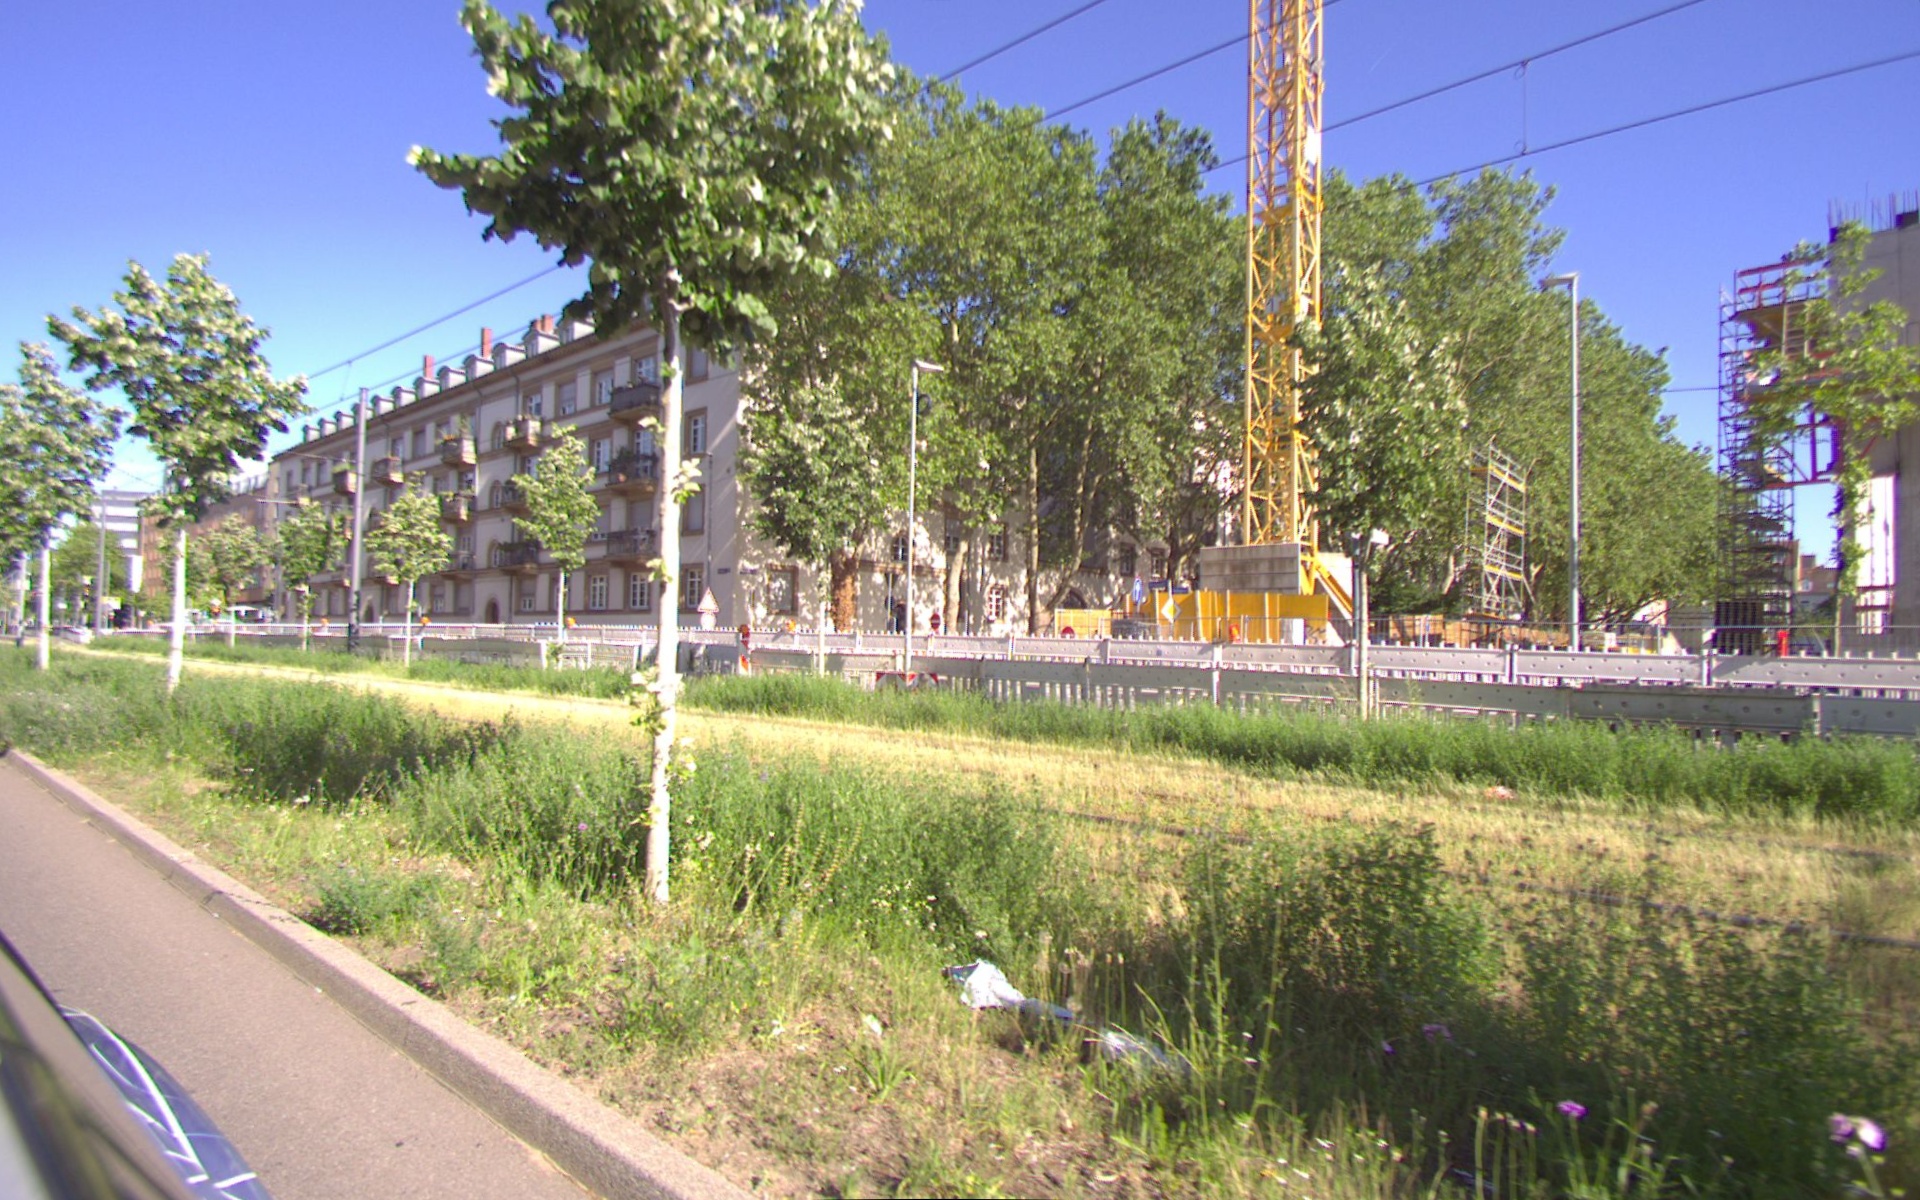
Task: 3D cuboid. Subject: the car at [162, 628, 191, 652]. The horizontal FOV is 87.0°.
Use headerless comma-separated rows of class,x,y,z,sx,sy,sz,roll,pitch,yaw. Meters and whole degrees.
car,-77.447,3.933,100.049,1.969,2.314,5.196,2,-2,-41
